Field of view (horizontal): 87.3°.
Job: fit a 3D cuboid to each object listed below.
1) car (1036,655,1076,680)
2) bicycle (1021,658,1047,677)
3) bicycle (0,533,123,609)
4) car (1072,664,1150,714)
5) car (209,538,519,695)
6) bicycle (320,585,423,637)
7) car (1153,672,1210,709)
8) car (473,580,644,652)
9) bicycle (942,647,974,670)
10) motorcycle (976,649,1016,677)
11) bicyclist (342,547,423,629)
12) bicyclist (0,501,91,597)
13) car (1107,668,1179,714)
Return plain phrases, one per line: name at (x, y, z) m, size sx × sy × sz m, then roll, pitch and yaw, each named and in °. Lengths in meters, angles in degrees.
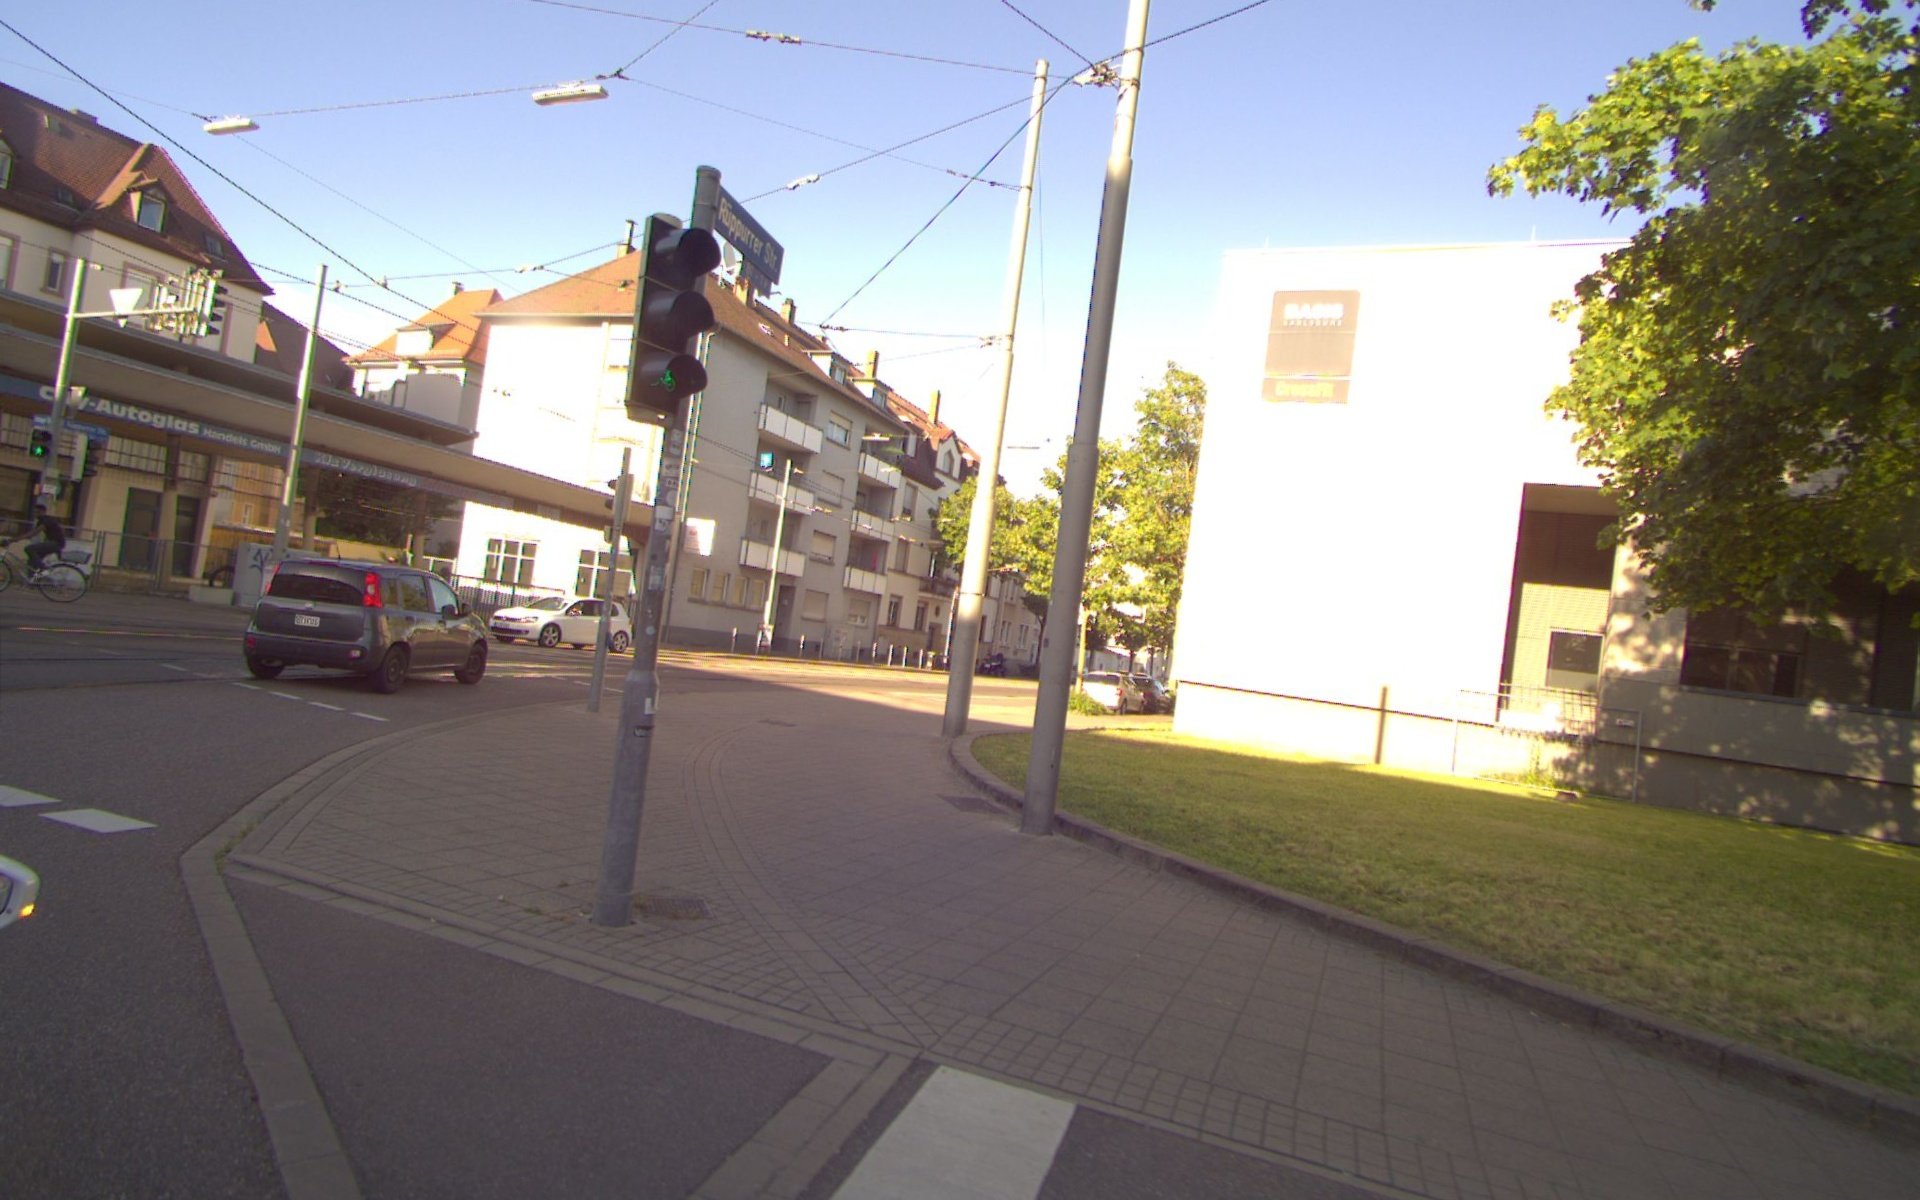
car at (7.140, 5.017, 74.549) m, size 1.770 × 1.503 × 4.003 m, roll 7°, pitch -3°, yaw 22°
bicycle at (5.236, 4.763, 71.061) m, size 1.717 × 1.035 × 0.610 m, roll 9°, pitch -2°, yaw 4°
bicycle at (-16.780, -0.553, 18.342) m, size 0.881 × 1.138 × 2.063 m, roll 6°, pitch -3°, yaw 32°
car at (5.424, 3.183, 35.722) m, size 1.617 × 1.471 × 3.916 m, roll 6°, pitch -3°, yaw 24°
car at (-7.483, 0.269, 13.166) m, size 1.706 × 1.517 × 4.001 m, roll 8°, pitch -3°, yaw -4°
bicycle at (-14.289, 0.280, 24.508) m, size 0.714 × 1.029 × 2.049 m, roll 6°, pitch -2°, yaw 24°
car at (10.692, 4.360, 48.321) m, size 1.795 × 1.480 × 4.159 m, roll 7°, pitch -3°, yaw 24°
car at (-10.823, 0.495, 27.455) m, size 1.764 × 1.474 × 4.191 m, roll 5°, pitch -3°, yaw 24°
bicycle at (-0.100, 3.376, 57.714) m, size 1.680 × 1.045 × 0.444 m, roll 9°, pitch -2°, yaw 4°
motorcycle at (2.315, 4.026, 64.084) m, size 1.436 × 1.498 × 3.104 m, roll 7°, pitch -2°, yaw 23°
bicyclist at (-14.158, -0.278, 24.686) m, size 0.894 × 1.807 × 1.254 m, roll 7°, pitch -1°, yaw 19°
bicyclist at (-16.737, -0.916, 18.316) m, size 0.865 × 1.544 × 1.049 m, roll 6°, pitch -2°, yaw 32°
car at (7.394, 3.648, 40.310) m, size 1.811 × 1.507 × 4.645 m, roll 7°, pitch -3°, yaw 22°
